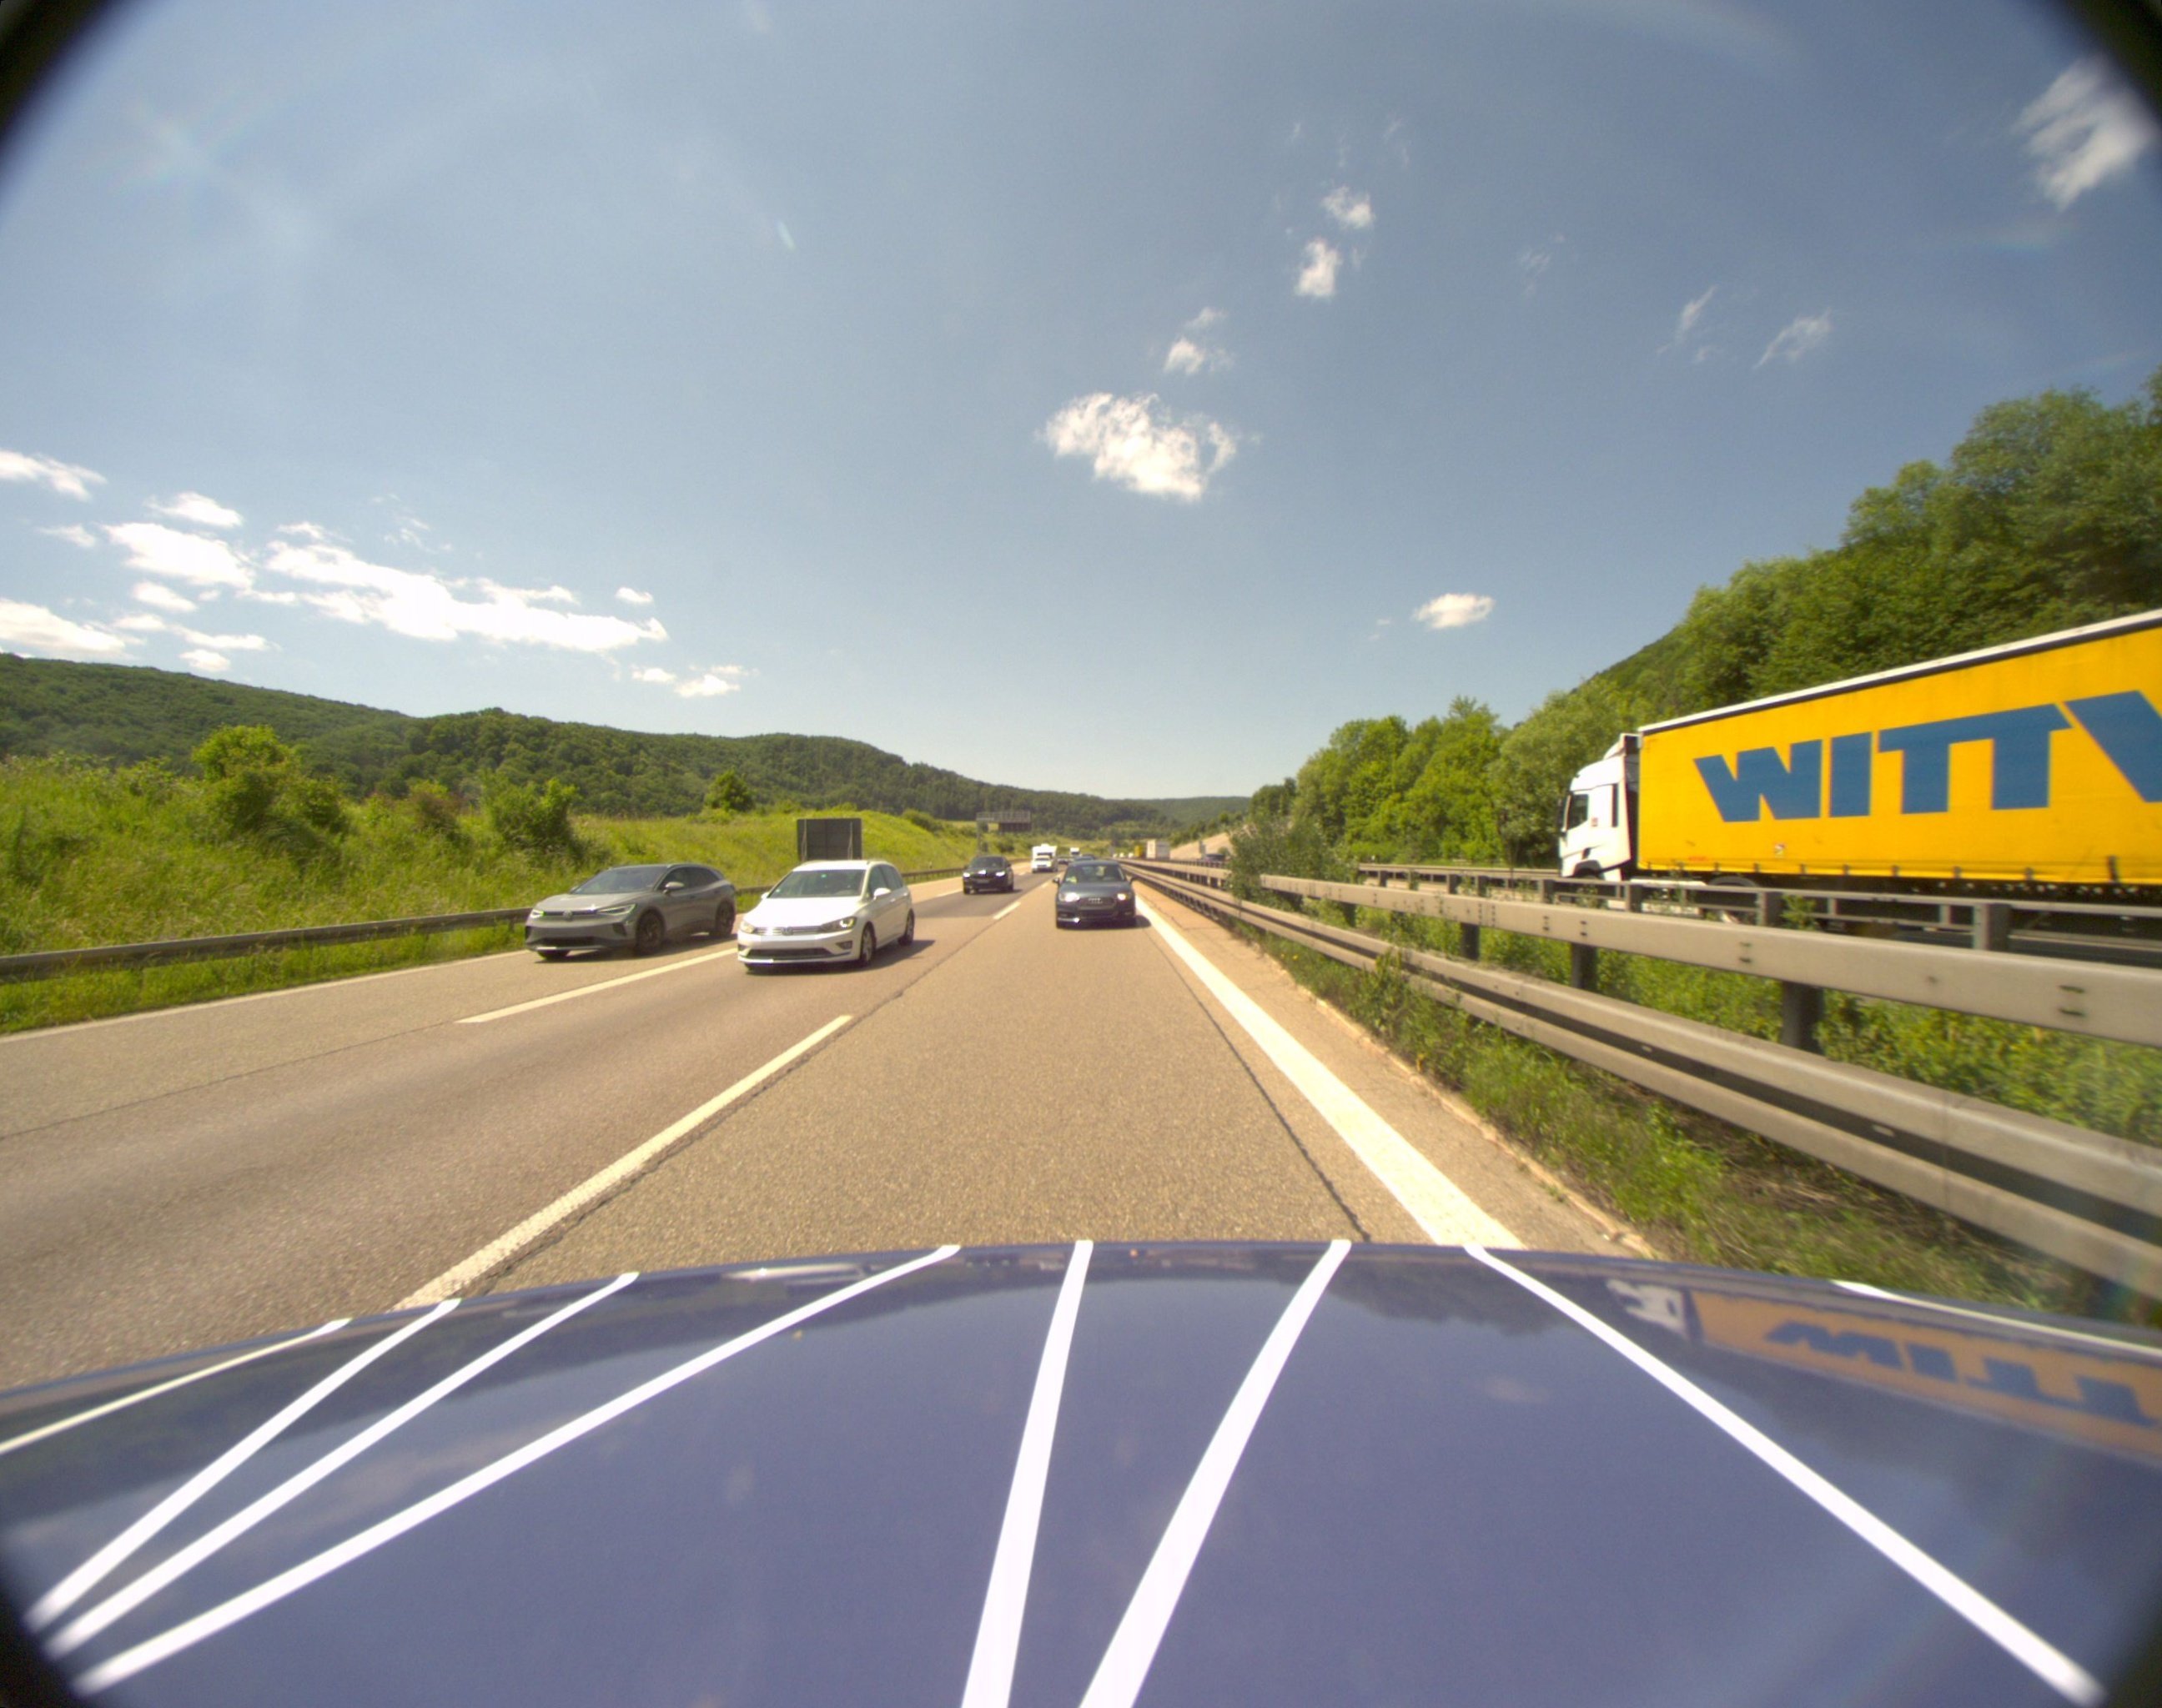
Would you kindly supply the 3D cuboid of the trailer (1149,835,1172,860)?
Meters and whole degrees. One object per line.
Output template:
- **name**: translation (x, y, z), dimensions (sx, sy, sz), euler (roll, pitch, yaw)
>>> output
- **trailer**: translation (13.740, -1.127, 132.674), dimensions (2.863, 4.052, 11.262), euler (0, 0, 0)

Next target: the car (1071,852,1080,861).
- **car**: translation (-1.167, 0.626, 178.355), dimensions (1.998, 2.002, 3.999), euler (-1, 1, 0)

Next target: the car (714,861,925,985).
- **car**: translation (-3.894, 0.938, 12.127), dimensions (1.777, 1.532, 4.054), euler (-2, 0, 3)

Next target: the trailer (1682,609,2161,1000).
- **trailer**: translation (12.328, -0.533, 7.780), dimensions (2.587, 3.982, 12.601), euler (-2, 0, 1)

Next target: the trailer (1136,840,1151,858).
- **trailer**: translation (15.135, -1.206, 184.724), dimensions (2.834, 4.123, 10.405), euler (-2, 0, 1)

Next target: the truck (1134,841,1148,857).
- **truck**: translation (15.334, -1.268, 194.733), dimensions (2.834, 4.123, 9.614), euler (-2, 0, 1)

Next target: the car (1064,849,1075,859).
- **car**: translation (-2.313, -0.027, 152.017), dimensions (1.999, 2.002, 3.999), euler (-1, 0, -1)

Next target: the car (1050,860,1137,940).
- **car**: translation (0.367, 0.878, 16.213), dimensions (1.591, 1.402, 4.001), euler (-2, 0, 4)

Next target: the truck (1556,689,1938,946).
- **truck**: translation (12.483, -0.592, 15.087), dimensions (2.554, 4.067, 5.850), euler (-1, 1, 1)

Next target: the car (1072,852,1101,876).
- **car**: translation (0.403, 0.638, 52.141), dimensions (1.835, 1.586, 4.000), euler (-1, 0, 2)

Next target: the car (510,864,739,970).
- **car**: translation (-8.335, 1.054, 14.417), dimensions (1.683, 1.585, 4.248), euler (-2, 0, 1)

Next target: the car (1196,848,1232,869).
- **car**: translation (9.282, 0.311, 53.273), dimensions (1.874, 1.412, 4.433), euler (0, 0, 1)

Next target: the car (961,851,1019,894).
- **car**: translation (-3.916, 0.774, 33.383), dimensions (1.893, 1.761, 4.172), euler (-1, 0, 2)

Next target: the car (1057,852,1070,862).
- **car**: translation (-2.711, 0.495, 118.004), dimensions (1.711, 1.542, 4.000), euler (-1, 0, 1)

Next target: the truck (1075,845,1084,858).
- **truck**: translation (-0.397, -0.753, 222.043), dimensions (2.336, 3.623, 7.005), euler (-2, 0, 1)

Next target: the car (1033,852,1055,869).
- **car**: translation (-3.456, 0.602, 71.501), dimensions (1.821, 1.574, 4.000), euler (-1, 0, 1)

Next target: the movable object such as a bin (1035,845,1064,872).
- **movable object such as a bin**: translation (-3.238, 0.384, 78.634), dimensions (2.481, 2.616, 6.709), euler (-2, 0, 1)
